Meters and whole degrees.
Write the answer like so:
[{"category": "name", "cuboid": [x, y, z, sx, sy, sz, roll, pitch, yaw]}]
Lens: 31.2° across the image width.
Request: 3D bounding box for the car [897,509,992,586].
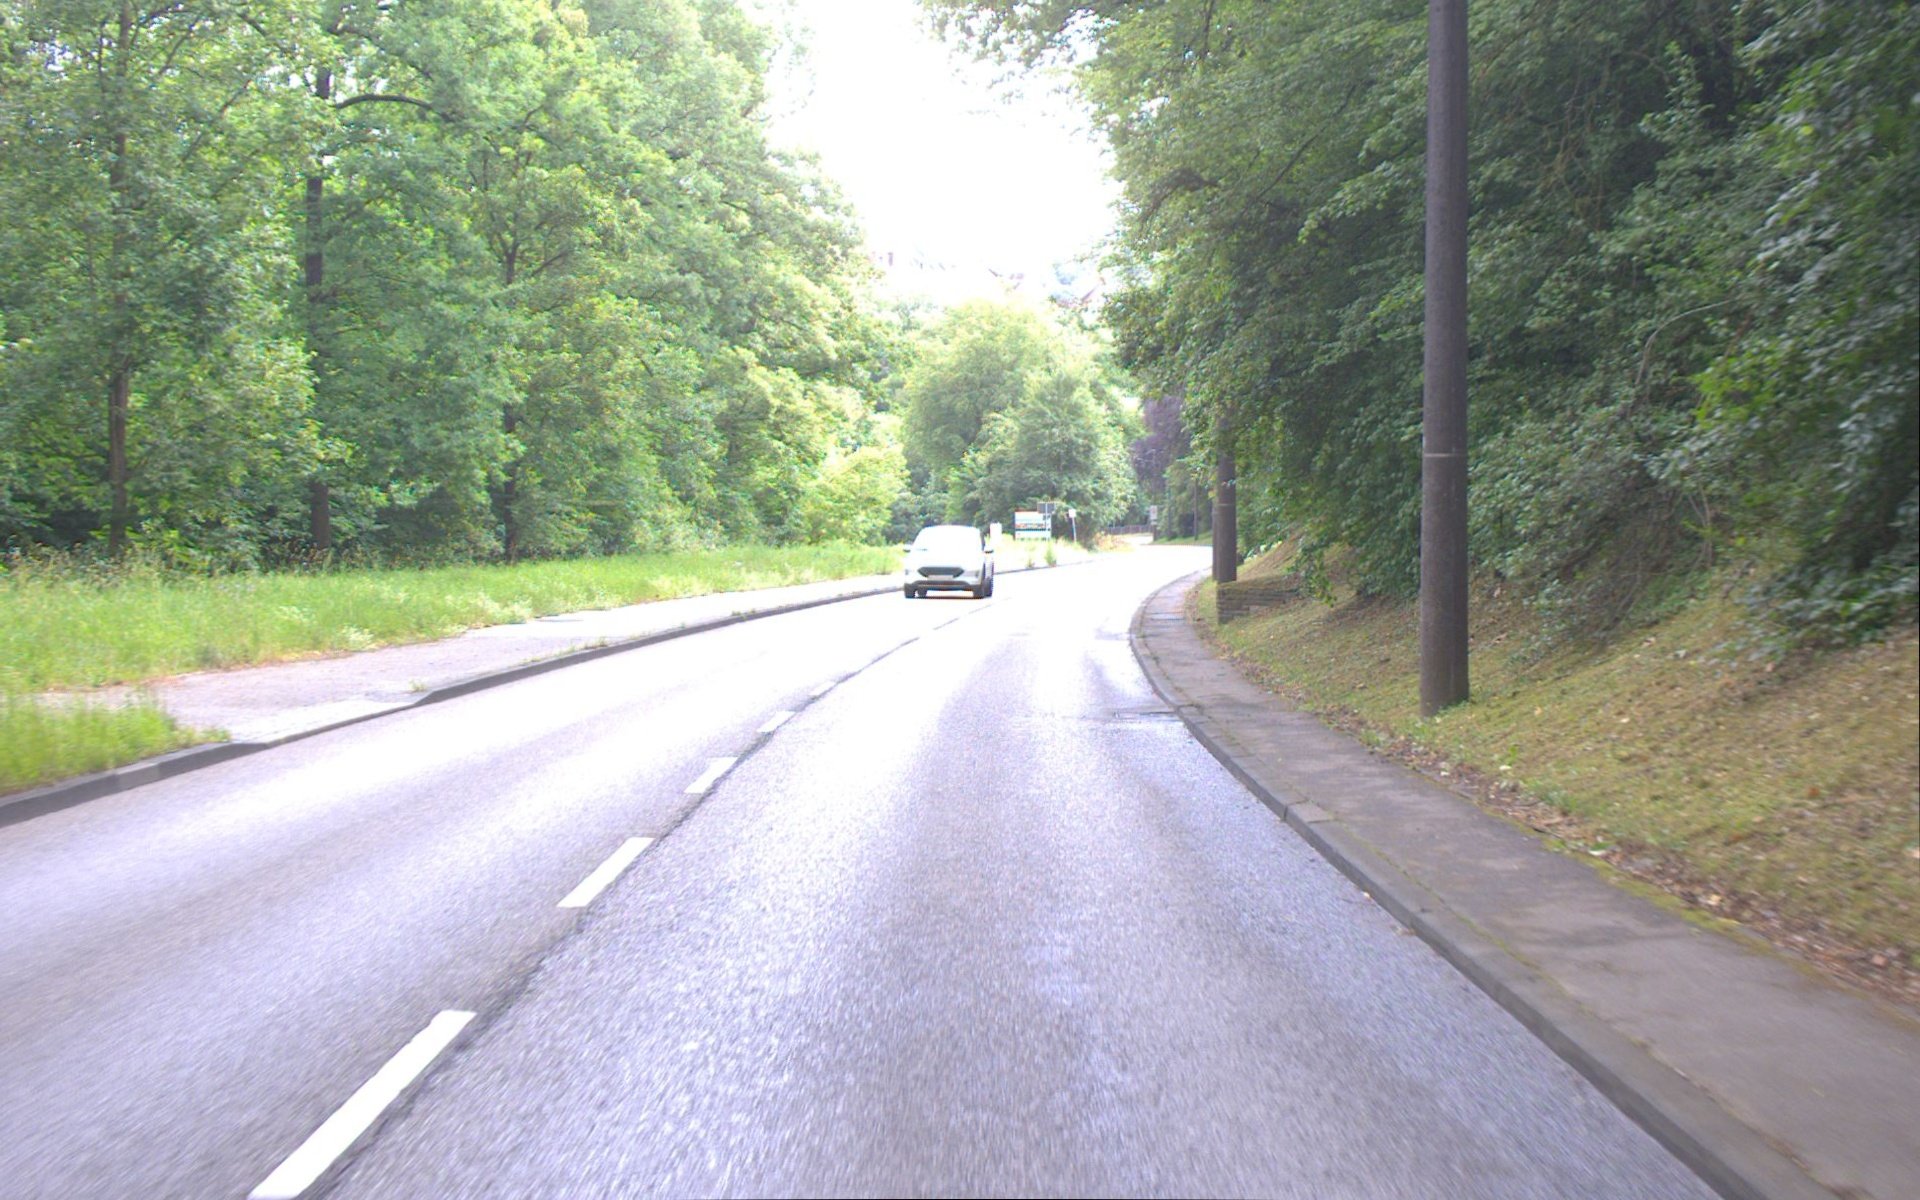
[{"category": "car", "cuboid": [-0.330, -1.215, 80.781, 1.994, 1.747, 4.781, 1, 0, 2]}]
